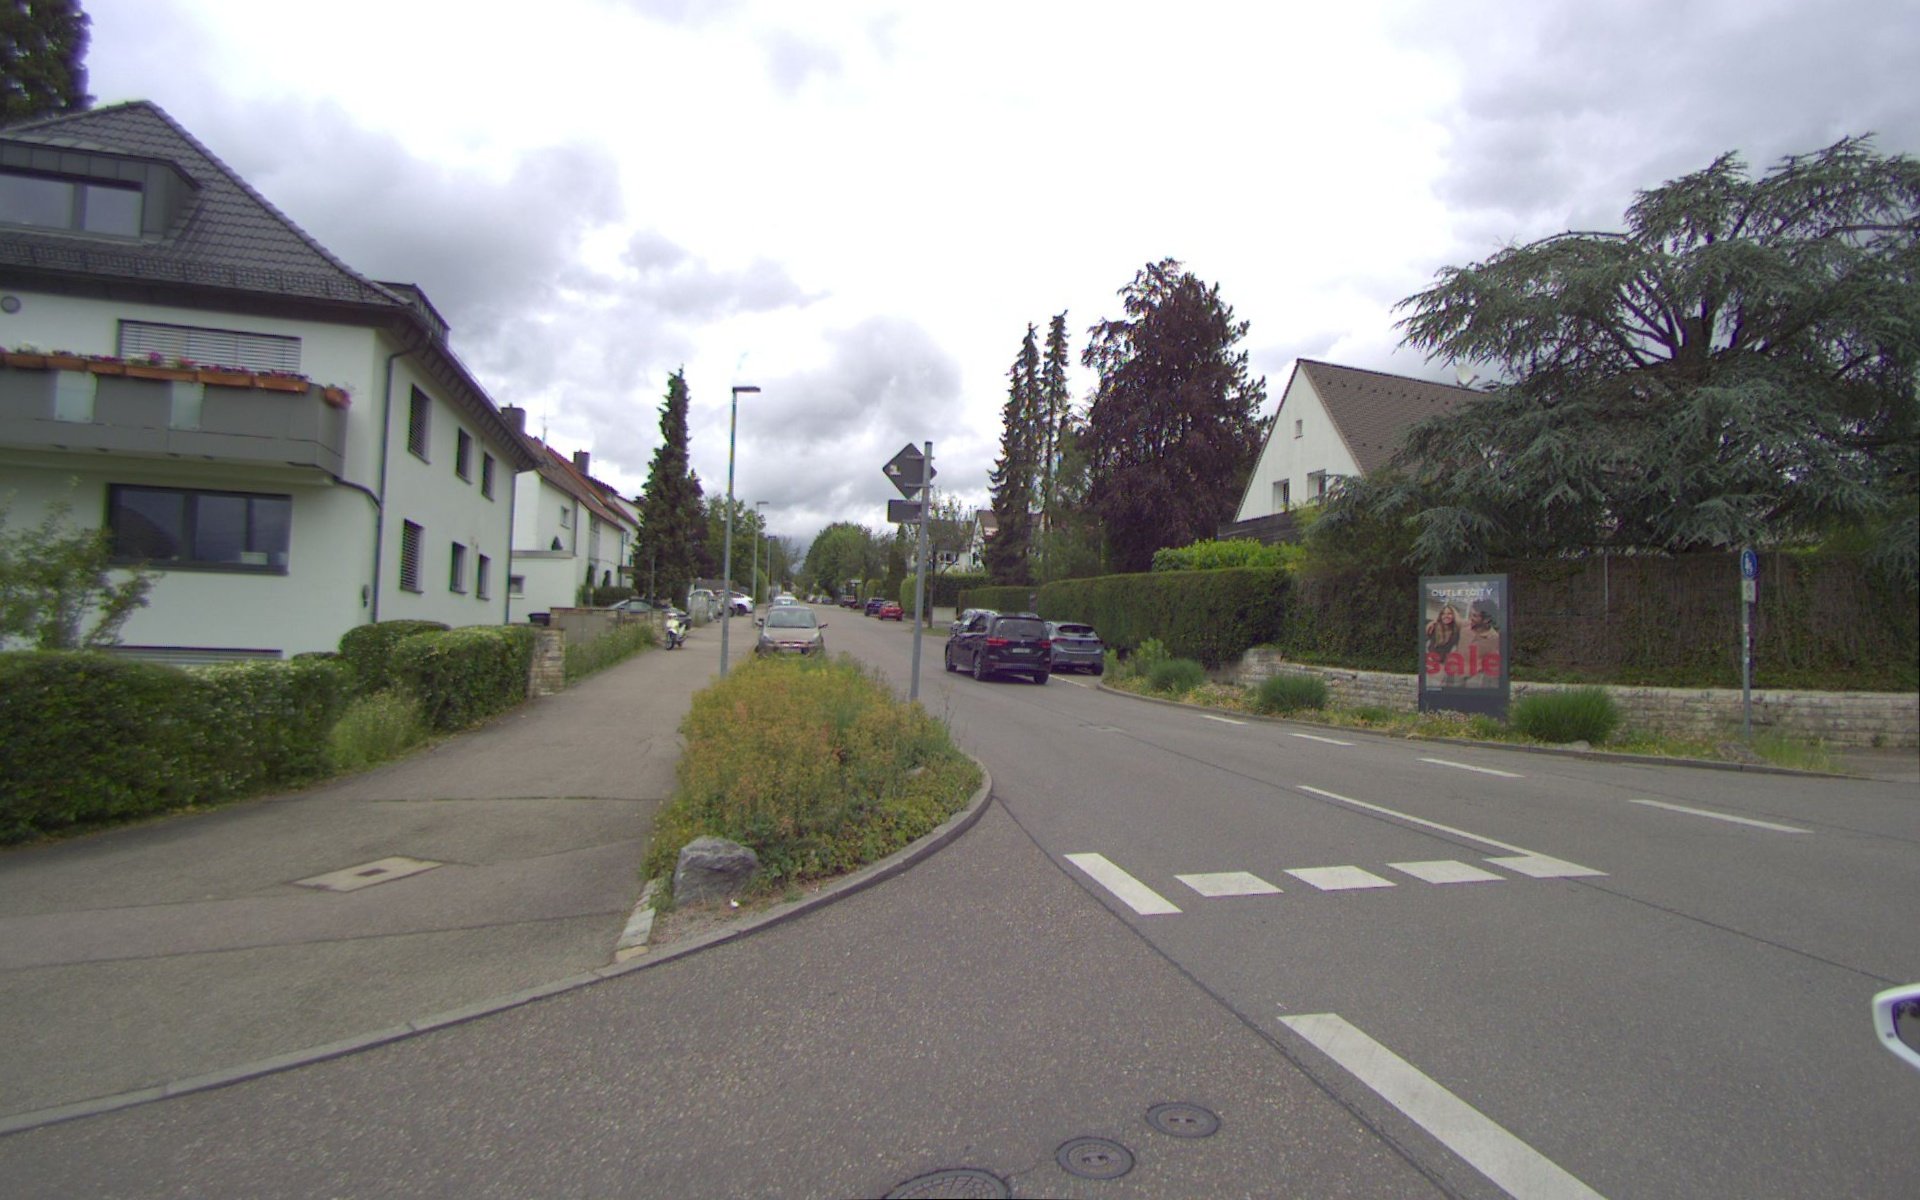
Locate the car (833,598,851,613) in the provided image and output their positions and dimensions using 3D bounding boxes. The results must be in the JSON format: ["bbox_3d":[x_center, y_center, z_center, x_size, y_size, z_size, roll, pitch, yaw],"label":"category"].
[{"bbox_3d":[-15.268,0.696,129.753,1.964,1.639,4.505,4,-1,-9],"label":"car"}]

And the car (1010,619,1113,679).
[{"bbox_3d":[2.911,1.378,29.579,1.829,1.483,3.991,3,-1,-12],"label":"car"}]

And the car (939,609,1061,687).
[{"bbox_3d":[0.901,1.127,25.170,1.823,1.633,4.298,3,0,-14],"label":"car"}]

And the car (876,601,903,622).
[{"bbox_3d":[-5.504,0.883,78.032,1.637,1.528,3.751,2,0,-10],"label":"car"}]

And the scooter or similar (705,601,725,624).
[{"bbox_3d":[-12.659,0.633,51.972,0.466,1.163,1.455,4,0,6],"label":"scooter or similar"}]

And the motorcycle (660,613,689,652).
[{"bbox_3d":[-8.852,1.003,31.174,0.422,1.176,1.862,1,-1,-2],"label":"motorcycle"}]

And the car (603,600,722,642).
[{"bbox_3d":[-11.402,0.801,38.672,4.230,1.386,1.898,2,0,-16],"label":"car"}]

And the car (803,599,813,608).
[{"bbox_3d":[-29.590,0.661,195.732,1.642,1.521,3.457,3,0,-14],"label":"car"}]

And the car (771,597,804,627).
[{"bbox_3d":[-9.849,0.648,57.288,1.735,1.584,3.848,1,0,-10],"label":"car"}]

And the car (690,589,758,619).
[{"bbox_3d":[-16.197,0.280,69.207,4.349,1.650,1.907,5,-1,-11],"label":"car"}]

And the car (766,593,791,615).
[{"bbox_3d":[-14.281,0.276,79.054,1.810,1.688,4.401,1,0,-9],"label":"car"}]

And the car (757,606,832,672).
[{"bbox_3d":[-4.616,1.026,27.980,1.850,1.606,3.865,2,0,-10],"label":"car"}]

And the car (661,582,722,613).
[{"bbox_3d":[-16.586,-0.151,62.188,3.379,1.598,1.654,5,-1,-9],"label":"car"}]

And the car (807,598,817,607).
[{"bbox_3d":[-29.873,0.551,202.579,1.642,1.690,3.457,3,0,-14],"label":"car"}]

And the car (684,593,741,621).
[{"bbox_3d":[-16.048,0.449,65.292,3.379,1.532,1.690,5,-1,-9],"label":"car"}]

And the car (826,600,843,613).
[{"bbox_3d":[-16.974,0.868,135.396,1.964,1.639,4.505,4,-1,-9],"label":"car"}]

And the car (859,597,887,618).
[{"bbox_3d":[-7.646,0.649,87.757,1.964,1.639,4.505,4,-1,-9],"label":"car"}]
